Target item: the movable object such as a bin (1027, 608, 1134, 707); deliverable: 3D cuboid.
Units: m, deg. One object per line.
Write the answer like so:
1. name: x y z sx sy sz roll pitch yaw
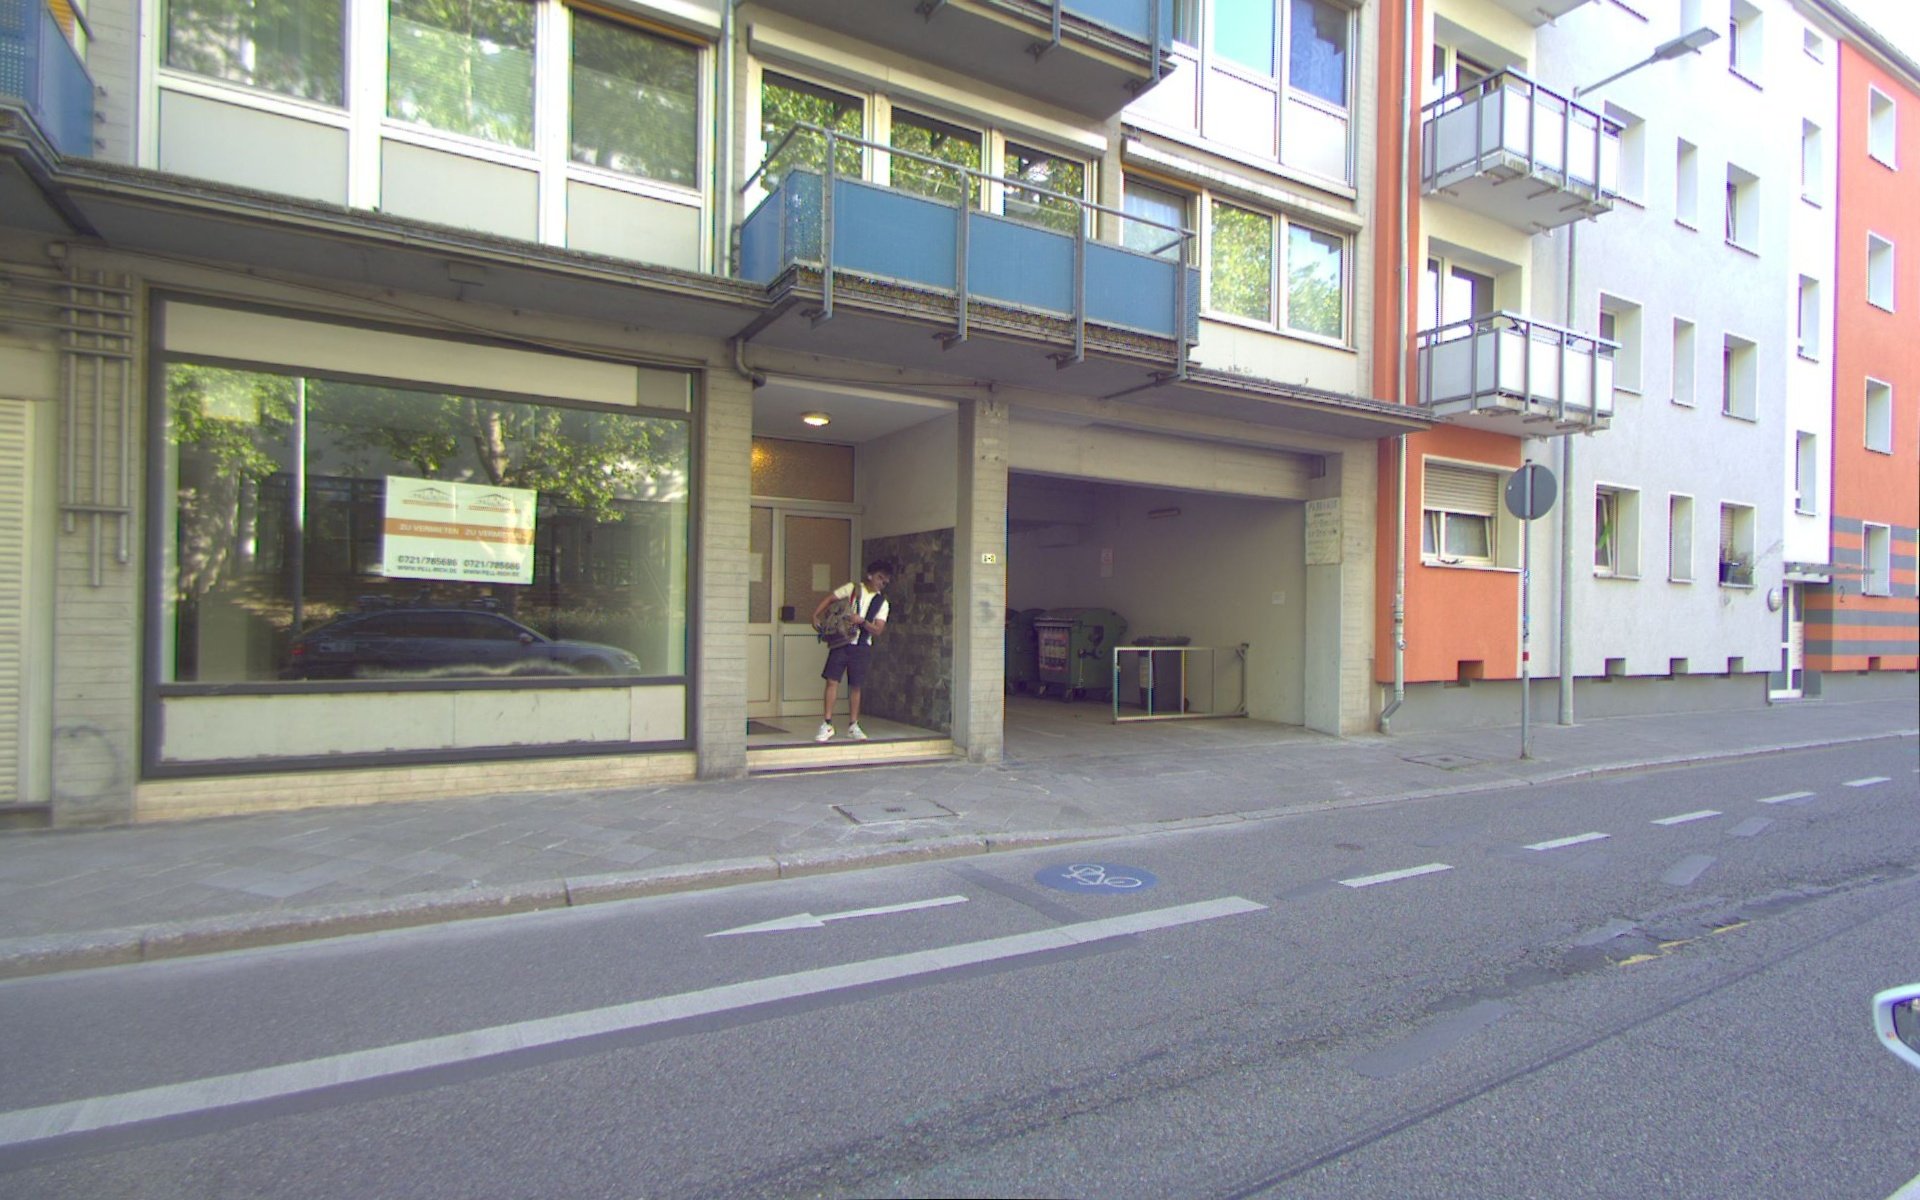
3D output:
1. movable object such as a bin: 1.884 0.878 15.823 1.120 1.444 1.268 2 0 -28

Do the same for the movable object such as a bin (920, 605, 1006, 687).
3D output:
1. movable object such as a bin: 0.040 0.837 18.709 1.120 1.444 1.268 2 0 -28

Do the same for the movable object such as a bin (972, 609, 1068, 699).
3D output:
1. movable object such as a bin: 1.016 0.893 17.164 1.120 1.444 1.268 2 0 -28

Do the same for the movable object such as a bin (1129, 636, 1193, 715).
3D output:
1. movable object such as a bin: 2.896 1.077 14.498 0.713 1.094 0.533 2 0 -29

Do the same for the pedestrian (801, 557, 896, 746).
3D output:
1. pedestrian: -1.009 0.459 9.225 0.778 1.639 0.836 2 0 -5

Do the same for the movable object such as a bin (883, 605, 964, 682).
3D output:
1. movable object such as a bin: -0.733 0.840 19.799 1.120 1.444 1.268 2 0 -28
